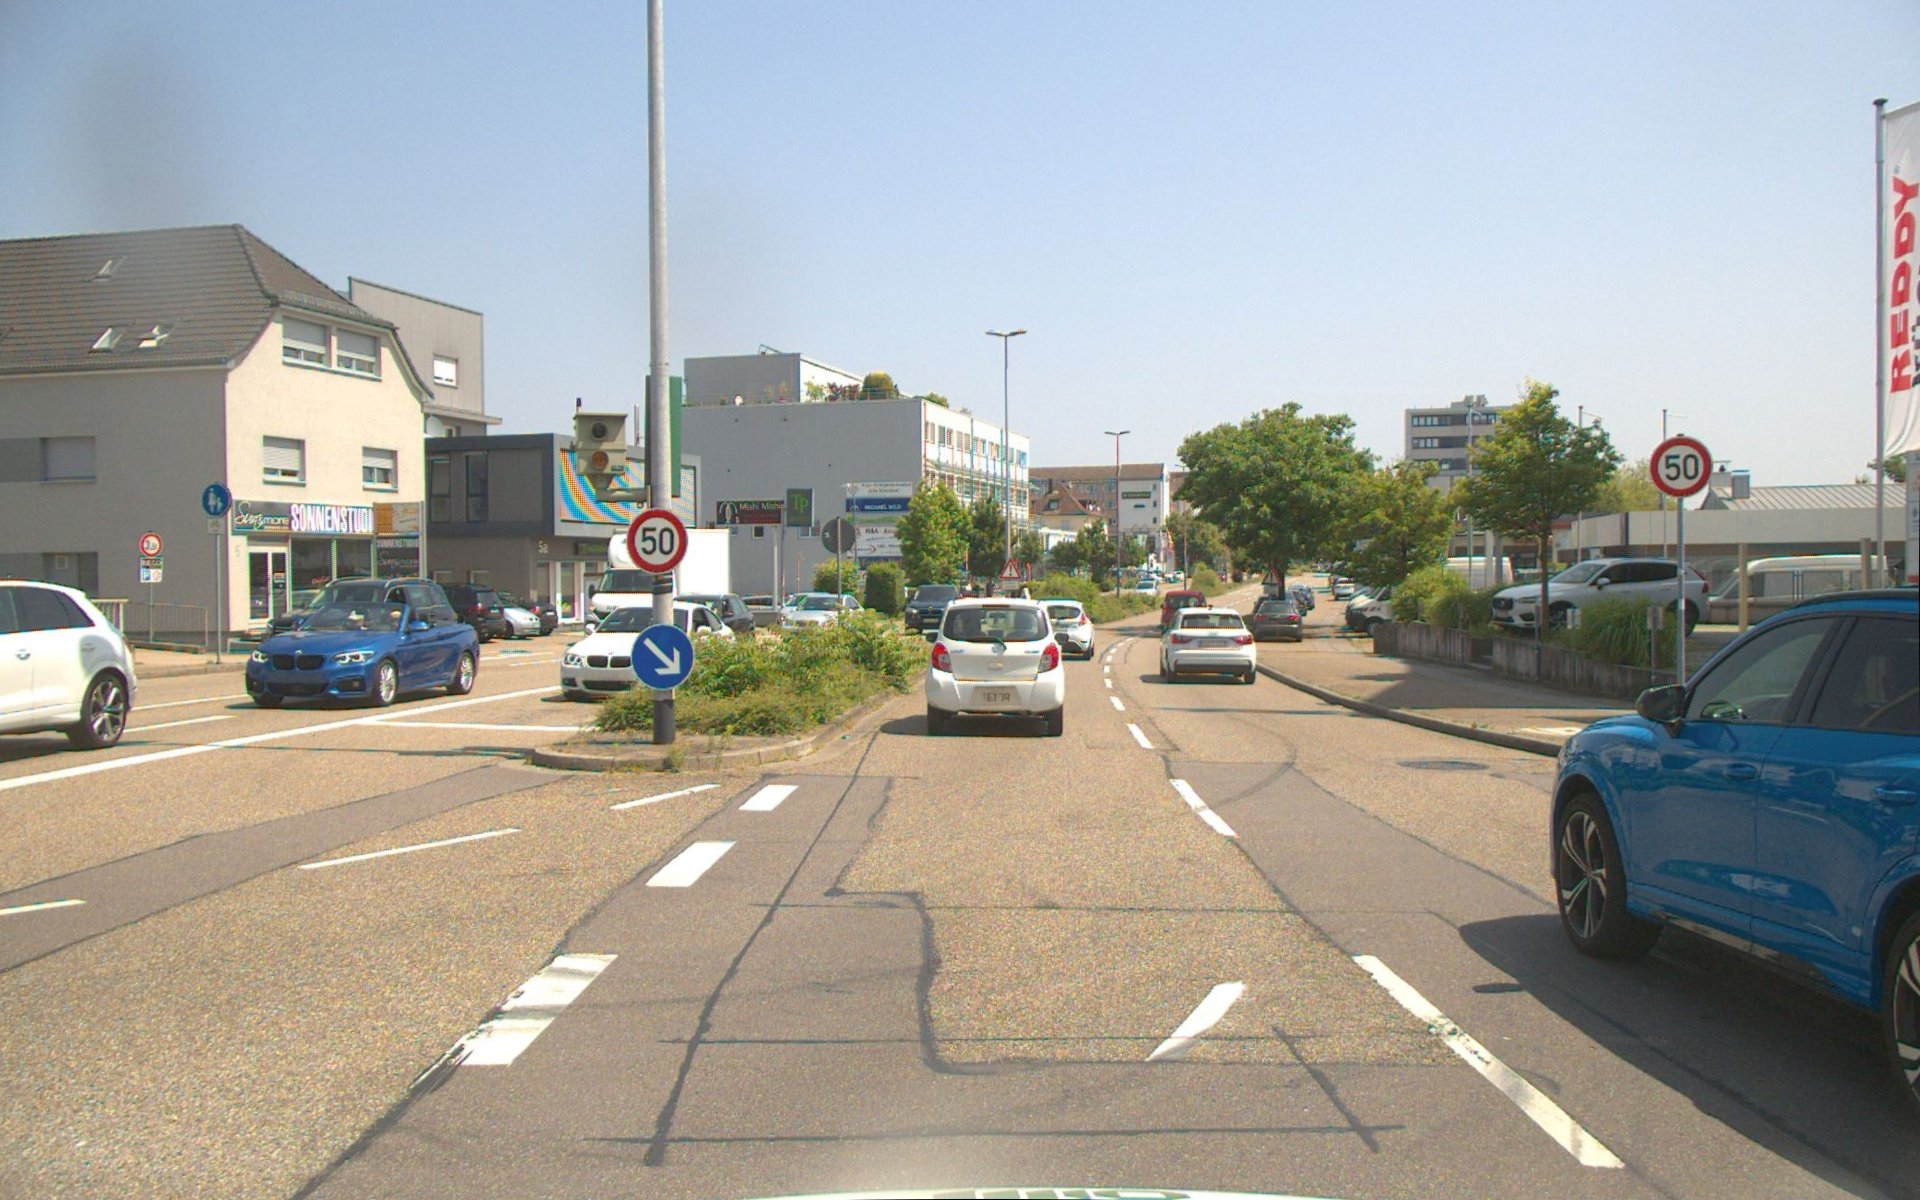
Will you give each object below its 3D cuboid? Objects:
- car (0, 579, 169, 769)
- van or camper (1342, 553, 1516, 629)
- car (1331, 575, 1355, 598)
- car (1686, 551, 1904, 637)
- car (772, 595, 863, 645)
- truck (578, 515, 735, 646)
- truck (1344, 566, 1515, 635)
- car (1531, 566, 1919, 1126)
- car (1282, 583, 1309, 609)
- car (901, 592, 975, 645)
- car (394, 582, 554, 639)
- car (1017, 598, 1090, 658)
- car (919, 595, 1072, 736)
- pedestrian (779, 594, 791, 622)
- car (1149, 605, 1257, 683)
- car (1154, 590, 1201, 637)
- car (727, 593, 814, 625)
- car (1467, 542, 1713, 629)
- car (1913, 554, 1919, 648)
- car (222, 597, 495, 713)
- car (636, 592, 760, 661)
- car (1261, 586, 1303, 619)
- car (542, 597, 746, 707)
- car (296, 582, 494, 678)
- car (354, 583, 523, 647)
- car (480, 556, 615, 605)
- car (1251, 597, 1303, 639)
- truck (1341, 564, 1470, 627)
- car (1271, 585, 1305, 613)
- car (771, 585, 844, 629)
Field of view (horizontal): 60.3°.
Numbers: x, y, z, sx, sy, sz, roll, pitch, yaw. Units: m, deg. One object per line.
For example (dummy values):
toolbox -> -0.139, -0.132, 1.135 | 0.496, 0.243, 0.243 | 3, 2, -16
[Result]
car -> -8.923, 0.605, 14.277 | 1.779, 1.597, 4.558 | 1, 0, 3
van or camper -> 18.986, -0.365, 67.340 | 6.651, 2.948, 2.277 | -1, 1, 13
car -> 28.585, -1.009, 123.339 | 1.631, 1.623, 4.617 | -1, 1, 13
car -> 25.891, -0.187, 51.507 | 5.761, 2.573, 2.121 | 1, -1, 16
car -> -4.173, 0.574, 49.033 | 1.857, 1.385, 4.201 | 0, 0, 7
truck -> -8.569, -0.492, 47.571 | 2.216, 3.477, 7.044 | 1, -1, 9
truck -> 17.804, 0.024, 62.947 | 6.112, 2.377, 2.370 | -2, 1, 15
car -> 3.733, 0.721, 5.938 | 1.873, 1.625, 4.395 | 0, 0, 0
car -> 21.415, -0.261, 105.571 | 1.677, 1.575, 4.795 | -1, 0, 11
car -> -0.716, 0.647, 58.260 | 1.868, 1.781, 4.763 | 1, -1, 8
car -> -15.598, 0.333, 53.196 | 4.509, 1.522, 1.754 | 3, 1, 5
car -> 2.383, 0.688, 42.900 | 1.792, 1.475, 4.001 | 1, 0, 2
car -> 0.397, 0.737, 19.990 | 1.677, 1.537, 3.247 | 1, -1, 0
pedestrian -> -10.798, 0.497, 102.253 | 0.534, 1.686, 0.625 | 1, -1, 12
car -> 4.738, 0.830, 32.634 | 1.632, 1.424, 3.793 | 0, 0, 1
car -> 8.417, 0.503, 64.028 | 1.756, 1.759, 3.976 | 1, 0, 7
car -> -9.167, 0.434, 80.233 | 3.902, 1.485, 1.577 | -1, -1, 9
car -> 13.553, -0.286, 35.680 | 4.641, 1.743, 1.994 | 1, -1, -12
car -> 32.137, 0.073, 49.460 | 5.986, 2.859, 2.001 | 1, -1, 15
car -> -8.108, 0.680, 22.765 | 1.823, 1.390, 4.350 | 1, 0, 5
car -> -5.894, 0.562, 37.686 | 1.763, 1.464, 4.579 | 1, 0, 4
car -> 17.290, 0.124, 88.675 | 1.919, 1.556, 5.166 | -3, 0, 13
car -> -4.590, 0.697, 24.769 | 1.824, 1.456, 4.747 | 1, 0, 4
car -> -10.664, 0.501, 31.617 | 1.952, 1.685, 4.596 | -1, 1, 4
car -> -15.830, 0.440, 50.243 | 4.508, 1.655, 1.855 | 3, 1, 13
car -> -13.998, -0.646, 56.269 | 3.969, 1.548, 2.002 | -1, 0, 11
car -> 11.488, 0.618, 59.784 | 1.759, 1.430, 4.324 | 1, 1, 12
truck -> 18.905, -0.186, 70.286 | 5.136, 2.478, 2.113 | -2, 1, 15
car -> 18.705, -0.058, 94.559 | 1.815, 1.507, 5.161 | 0, 1, 10
car -> -5.655, 0.258, 61.862 | 1.857, 1.594, 4.201 | 0, 0, 7
